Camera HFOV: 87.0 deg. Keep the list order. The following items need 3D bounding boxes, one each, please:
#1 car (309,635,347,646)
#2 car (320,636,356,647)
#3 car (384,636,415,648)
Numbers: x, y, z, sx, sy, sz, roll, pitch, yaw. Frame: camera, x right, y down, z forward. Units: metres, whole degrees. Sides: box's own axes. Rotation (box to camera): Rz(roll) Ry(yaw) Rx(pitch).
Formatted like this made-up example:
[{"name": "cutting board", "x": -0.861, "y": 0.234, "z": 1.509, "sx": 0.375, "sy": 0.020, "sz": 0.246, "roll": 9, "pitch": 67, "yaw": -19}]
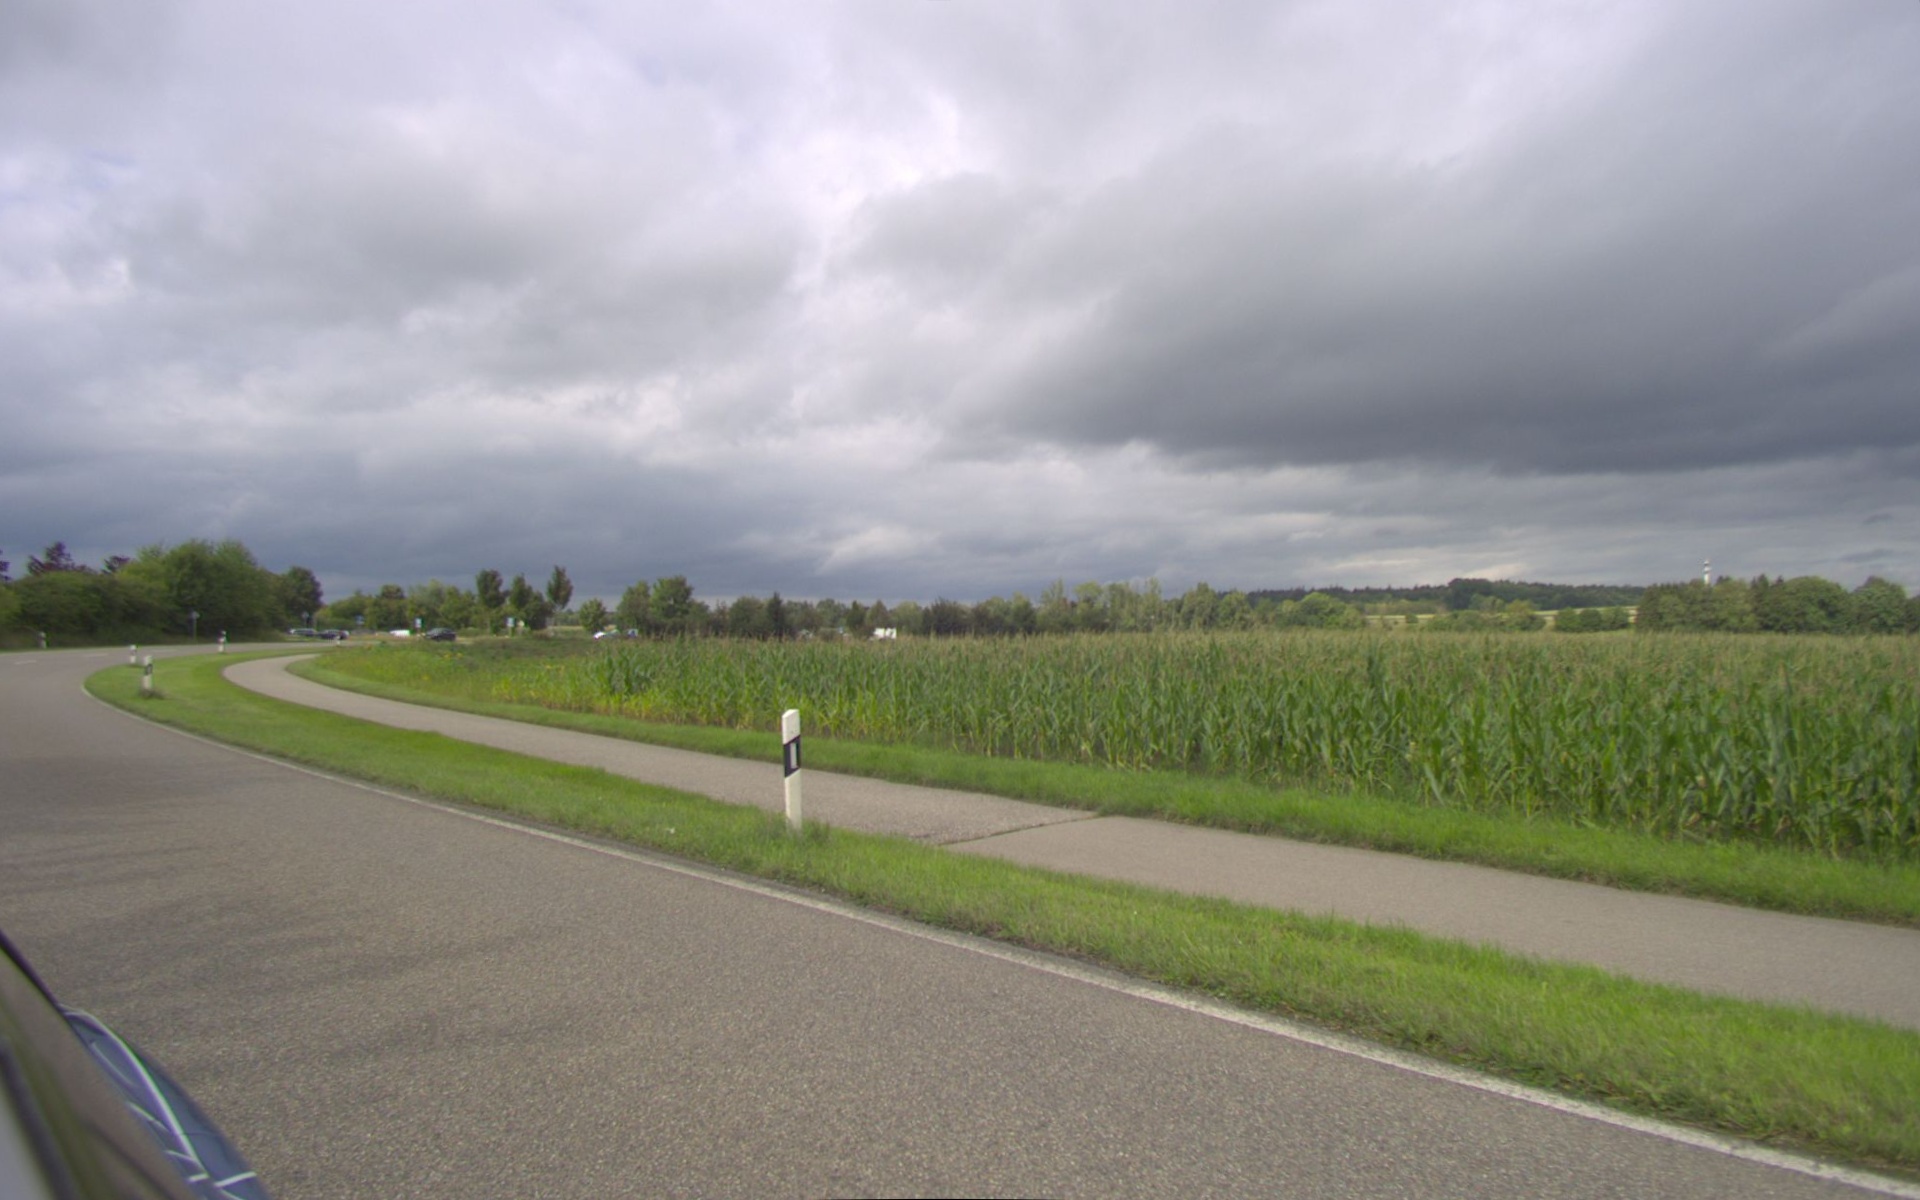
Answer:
[{"name": "car", "x": -88.360, "y": 5.681, "z": 141.574, "sx": 4.096, "sy": 1.425, "sz": 2.005, "roll": 1, "pitch": -3, "yaw": -14}, {"name": "car", "x": -89.129, "y": 5.883, "z": 145.015, "sx": 3.947, "sy": 1.517, "sz": 2.055, "roll": 1, "pitch": -3, "yaw": -7}, {"name": "car", "x": -91.579, "y": 6.823, "z": 165.386, "sx": 3.935, "sy": 1.874, "sz": 2.004, "roll": 1, "pitch": -3, "yaw": -10}]
